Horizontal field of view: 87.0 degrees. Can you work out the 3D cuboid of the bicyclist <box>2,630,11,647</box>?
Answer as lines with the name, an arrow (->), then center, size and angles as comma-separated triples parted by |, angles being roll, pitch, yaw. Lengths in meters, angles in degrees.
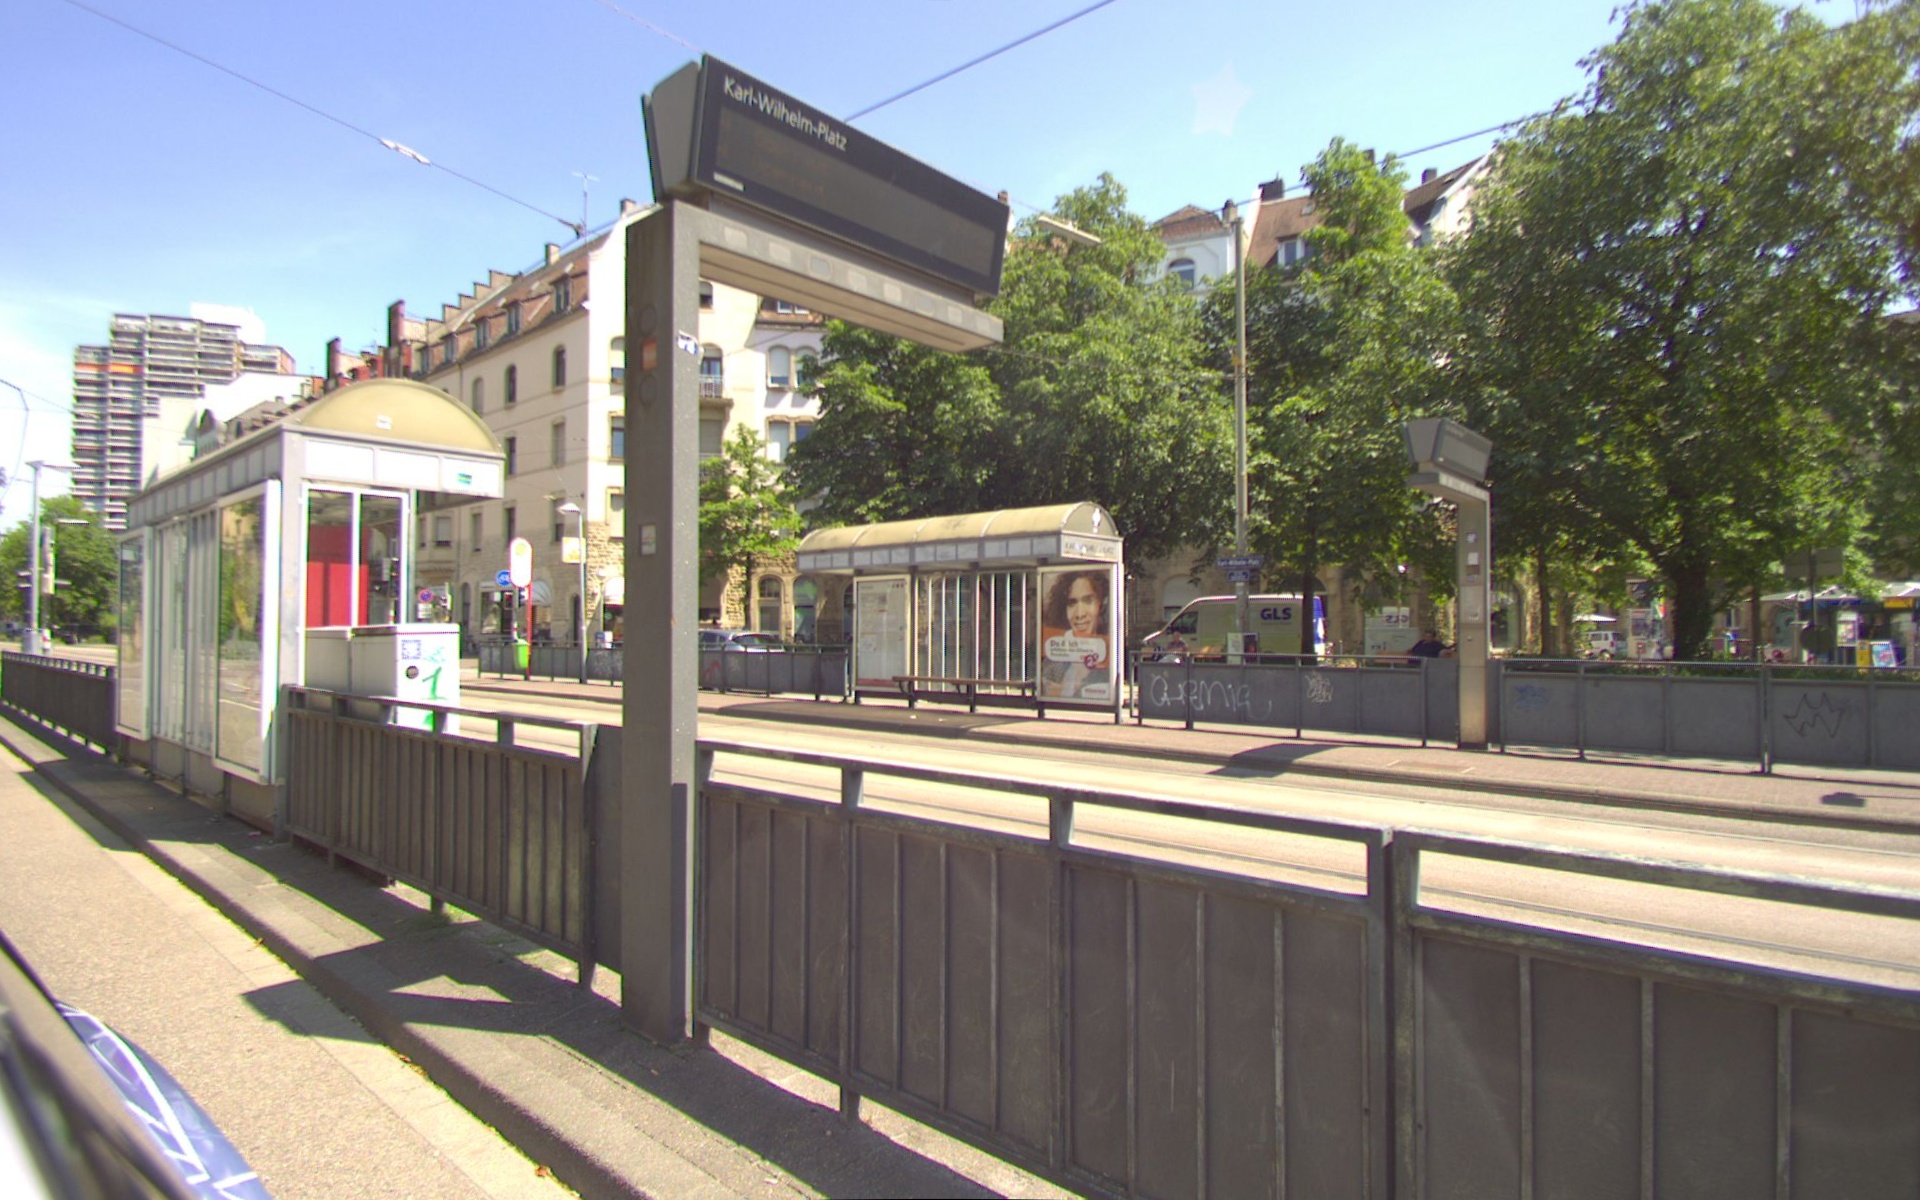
bicyclist -> -105.465, 4.250, 111.930 | 0.715, 1.889, 0.636 | -1, 0, 39

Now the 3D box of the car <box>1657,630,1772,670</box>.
car -> 35.794, 2.343, 48.094 | 1.736, 1.721, 3.998 | -1, 0, -33

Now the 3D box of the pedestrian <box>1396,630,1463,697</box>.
pedestrian -> 9.289, 1.234, 20.032 | 0.852, 1.253, 0.939 | -1, 0, -43

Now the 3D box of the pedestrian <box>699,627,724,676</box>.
pedestrian -> -7.977, 1.652, 32.486 | 0.473, 1.563, 0.586 | -2, -3, 39

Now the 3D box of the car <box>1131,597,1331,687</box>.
car -> 8.693, 1.275, 32.779 | 5.818, 2.693, 2.246 | -1, 0, 37

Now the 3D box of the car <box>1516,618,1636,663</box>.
car -> 26.725, 1.698, 44.002 | 1.966, 1.803, 4.011 | -1, 0, -33

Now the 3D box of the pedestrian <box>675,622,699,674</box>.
pedestrian -> -8.911, 1.566, 33.093 | 0.473, 1.659, 0.586 | -2, -3, 41

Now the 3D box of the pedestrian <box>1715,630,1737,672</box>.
pedestrian -> 30.999, 2.048, 40.952 | 0.483, 1.683, 0.517 | 1, -2, -27

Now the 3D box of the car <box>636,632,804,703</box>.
car -> -5.592, 1.482, 23.353 | 3.998, 1.404, 1.789 | -1, 0, 41

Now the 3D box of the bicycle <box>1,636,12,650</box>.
bicycle -> -105.458, 4.738, 111.940 | 1.969, 1.524, 0.636 | -1, 0, 39

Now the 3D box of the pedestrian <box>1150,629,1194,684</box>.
pedestrian -> 5.100, 1.350, 24.307 | 0.930, 1.253, 0.860 | -1, 0, 17
